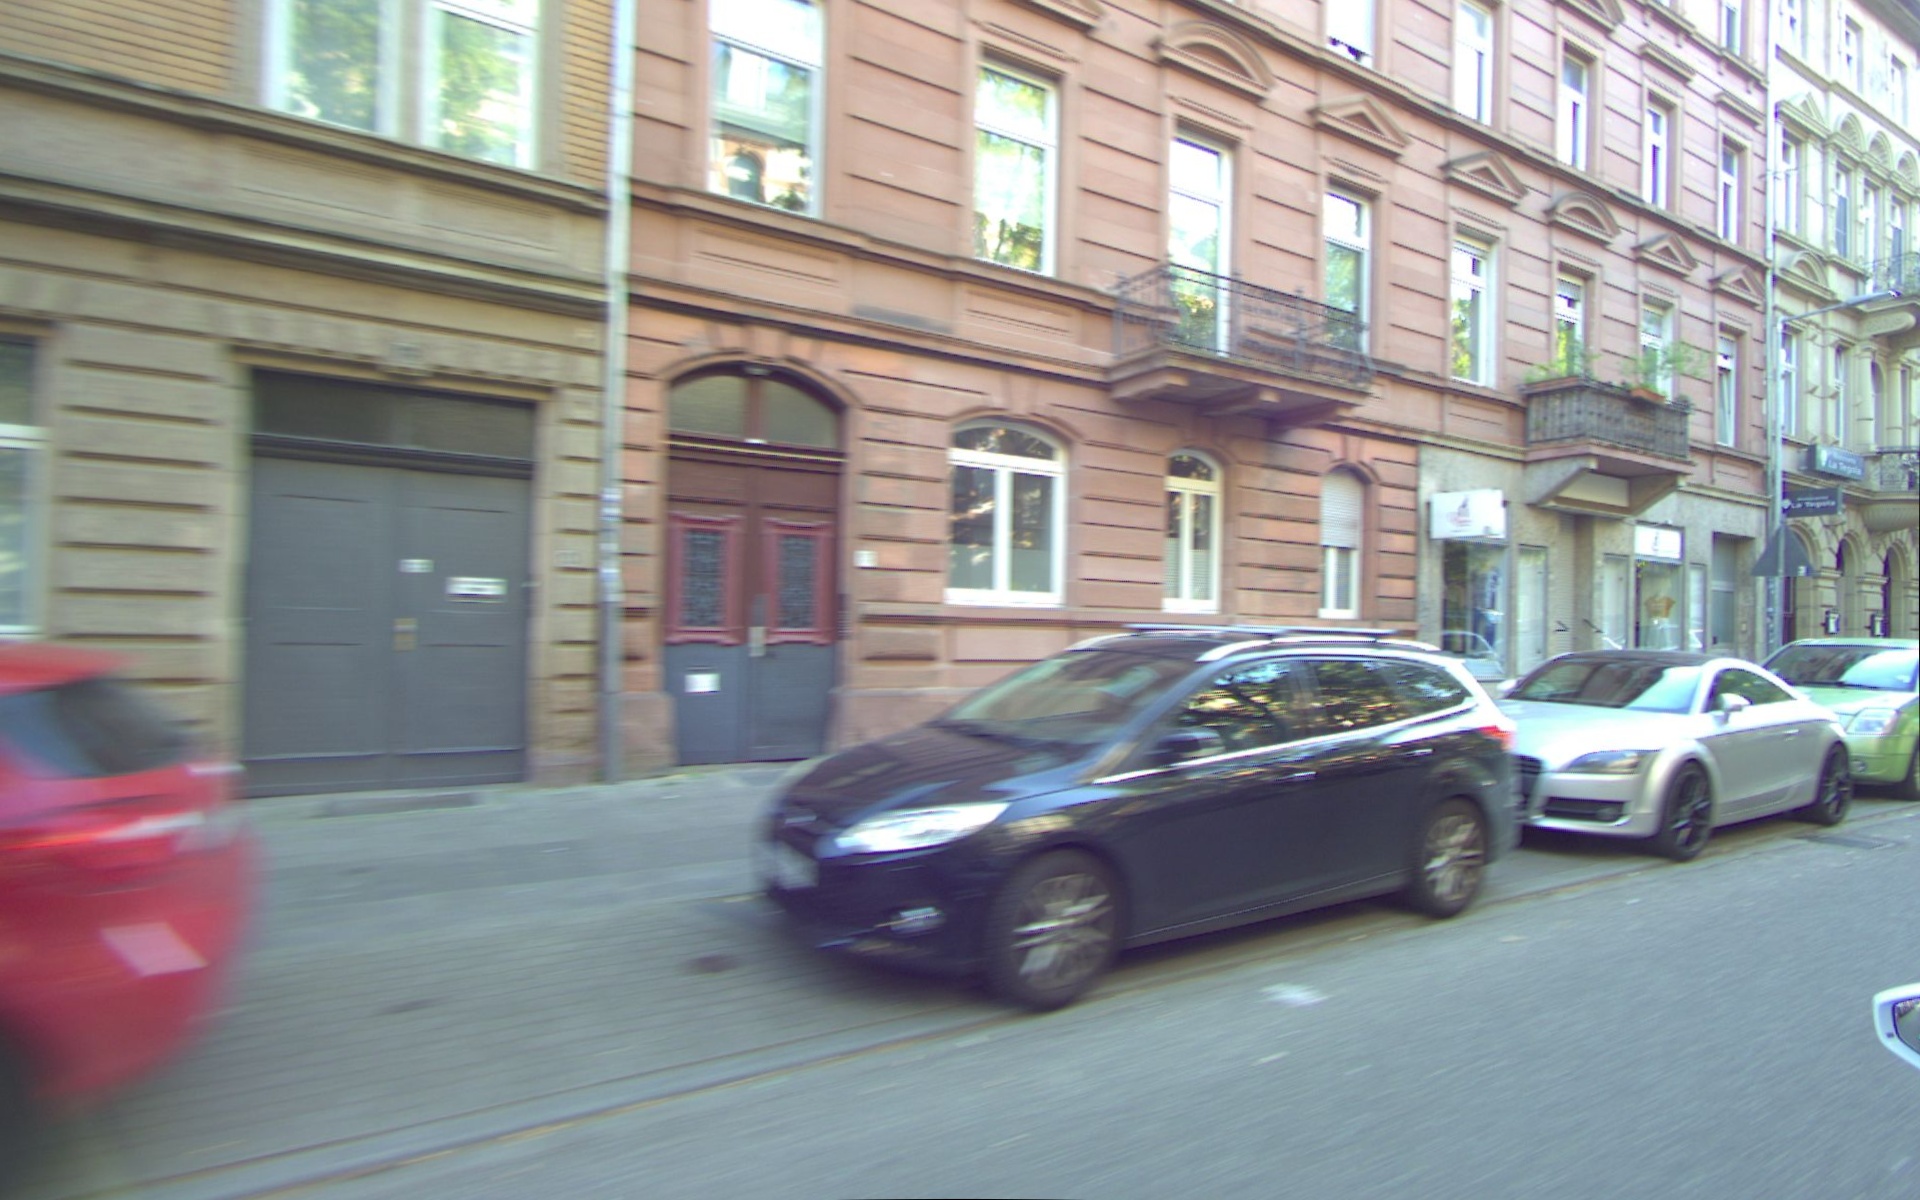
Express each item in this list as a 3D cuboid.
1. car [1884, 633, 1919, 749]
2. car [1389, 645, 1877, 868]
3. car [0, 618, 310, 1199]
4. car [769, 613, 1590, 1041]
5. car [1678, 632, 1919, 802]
[{"bbox_3d":[14.264,1.207,13.594,3.955,1.492,1.574,1,-1,-31],"label":"car"},{"bbox_3d":[5.463,1.053,8.042,4.054,1.340,1.697,1,-1,-31],"label":"car"},{"bbox_3d":[-4.085,0.779,2.291,4.264,1.445,1.812,1,0,-31],"label":"car"},{"bbox_3d":[1.349,0.871,5.533,4.373,1.497,1.812,1,0,-31],"label":"car"},{"bbox_3d":[9.396,1.082,10.479,3.913,1.458,1.697,1,-1,-31],"label":"car"}]
